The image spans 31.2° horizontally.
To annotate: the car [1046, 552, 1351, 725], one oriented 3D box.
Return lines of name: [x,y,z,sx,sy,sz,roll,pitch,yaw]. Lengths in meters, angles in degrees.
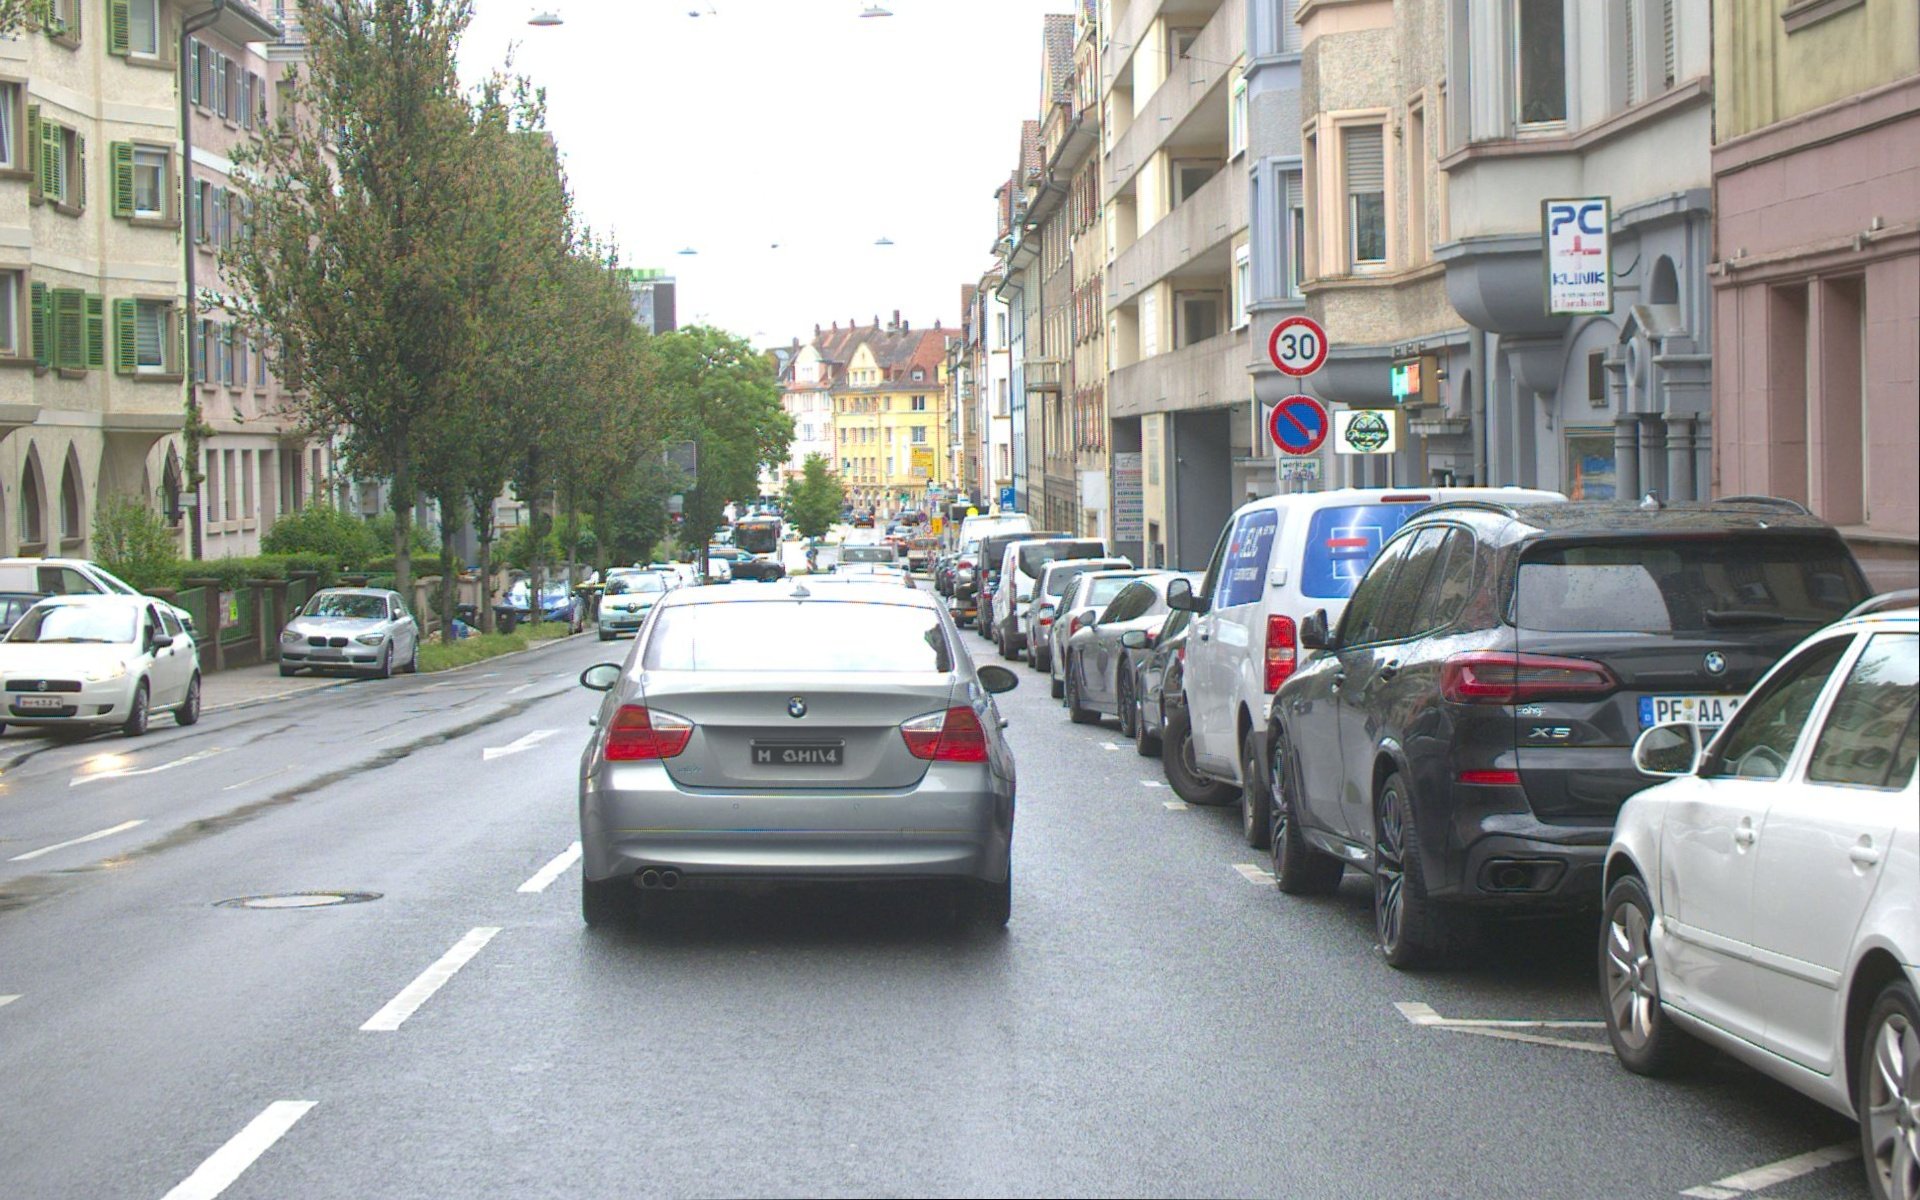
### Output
car: [2.083,0.302,31.447,1.875,1.462,4.776,0,1,-7]

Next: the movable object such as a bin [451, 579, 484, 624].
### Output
movable object such as a bin: [-10.410,0.028,72.665,0.574,0.909,0.640,-2,1,-15]

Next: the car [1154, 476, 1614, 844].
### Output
car: [2.324,0.272,20.202,1.919,1.821,5.009,-2,1,-1]

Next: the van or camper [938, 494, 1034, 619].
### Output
van or camper: [0.680,-1.082,83.680,2.033,2.859,6.885,2,1,2]

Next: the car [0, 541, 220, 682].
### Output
car: [-13.679,0.189,51.218,4.828,1.967,2.048,-2,1,-1]

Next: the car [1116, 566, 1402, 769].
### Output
car: [2.154,0.445,25.784,1.677,1.370,4.276,0,1,-1]

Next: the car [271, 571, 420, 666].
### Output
car: [-10.041,0.282,56.387,1.726,1.479,3.989,1,0,0]

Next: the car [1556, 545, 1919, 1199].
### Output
car: [2.913,0.648,8.857,1.799,1.559,4.493,0,1,-2]

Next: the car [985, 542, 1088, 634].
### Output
car: [1.446,-0.255,66.243,1.726,1.664,4.289,-2,1,-1]

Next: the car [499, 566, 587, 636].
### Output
car: [-10.275,0.007,84.980,1.766,1.588,4.001,-3,1,-2]

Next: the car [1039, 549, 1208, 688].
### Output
car: [1.781,0.170,38.503,1.611,1.469,4.016,0,1,-1]

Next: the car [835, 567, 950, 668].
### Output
car: [-1.063,0.247,52.728,1.697,1.478,3.794,0,0,-2]

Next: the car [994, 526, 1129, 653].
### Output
car: [1.686,-0.207,58.550,1.982,2.000,4.625,-2,1,-1]

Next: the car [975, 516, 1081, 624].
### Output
car: [1.406,-0.647,73.214,1.982,2.158,4.750,-2,1,-1]

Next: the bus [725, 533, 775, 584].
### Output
bus: [-13.080,-2.578,214.343,2.668,3.014,7.671,-2,1,-1]

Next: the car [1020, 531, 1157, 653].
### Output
car: [1.893,-0.145,51.848,1.726,1.664,4.289,-3,1,-1]

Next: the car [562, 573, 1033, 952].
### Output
car: [-0.674,0.600,14.841,1.769,1.423,3.741,0,0,-2]

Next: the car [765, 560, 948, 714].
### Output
car: [-0.968,0.330,33.817,1.682,1.423,3.741,0,1,0]

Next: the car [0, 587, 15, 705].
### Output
car: [-13.951,0.646,42.985,3.880,1.452,1.792,-2,1,-8]

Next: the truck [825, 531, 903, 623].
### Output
truck: [-2.595,-0.616,92.643,2.032,2.404,4.827,0,0,-2]

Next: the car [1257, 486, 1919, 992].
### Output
car: [2.418,0.446,14.131,1.879,1.725,4.677,0,1,-1]

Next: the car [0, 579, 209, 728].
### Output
car: [-9.285,0.534,36.753,1.621,1.441,4.005,-1,1,0]

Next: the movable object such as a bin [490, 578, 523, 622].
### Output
movable object such as a bin: [-9.607,-0.009,72.840,0.574,0.909,0.640,-2,1,-15]

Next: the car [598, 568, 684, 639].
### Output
car: [-7.413,0.059,80.212,1.636,1.503,3.755,-4,1,-1]

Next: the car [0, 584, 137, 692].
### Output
car: [-14.124,0.577,48.862,4.431,1.447,1.792,-2,1,-3]

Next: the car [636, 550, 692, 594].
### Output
car: [-10.952,-1.058,127.483,1.691,1.518,3.736,-3,1,0]
